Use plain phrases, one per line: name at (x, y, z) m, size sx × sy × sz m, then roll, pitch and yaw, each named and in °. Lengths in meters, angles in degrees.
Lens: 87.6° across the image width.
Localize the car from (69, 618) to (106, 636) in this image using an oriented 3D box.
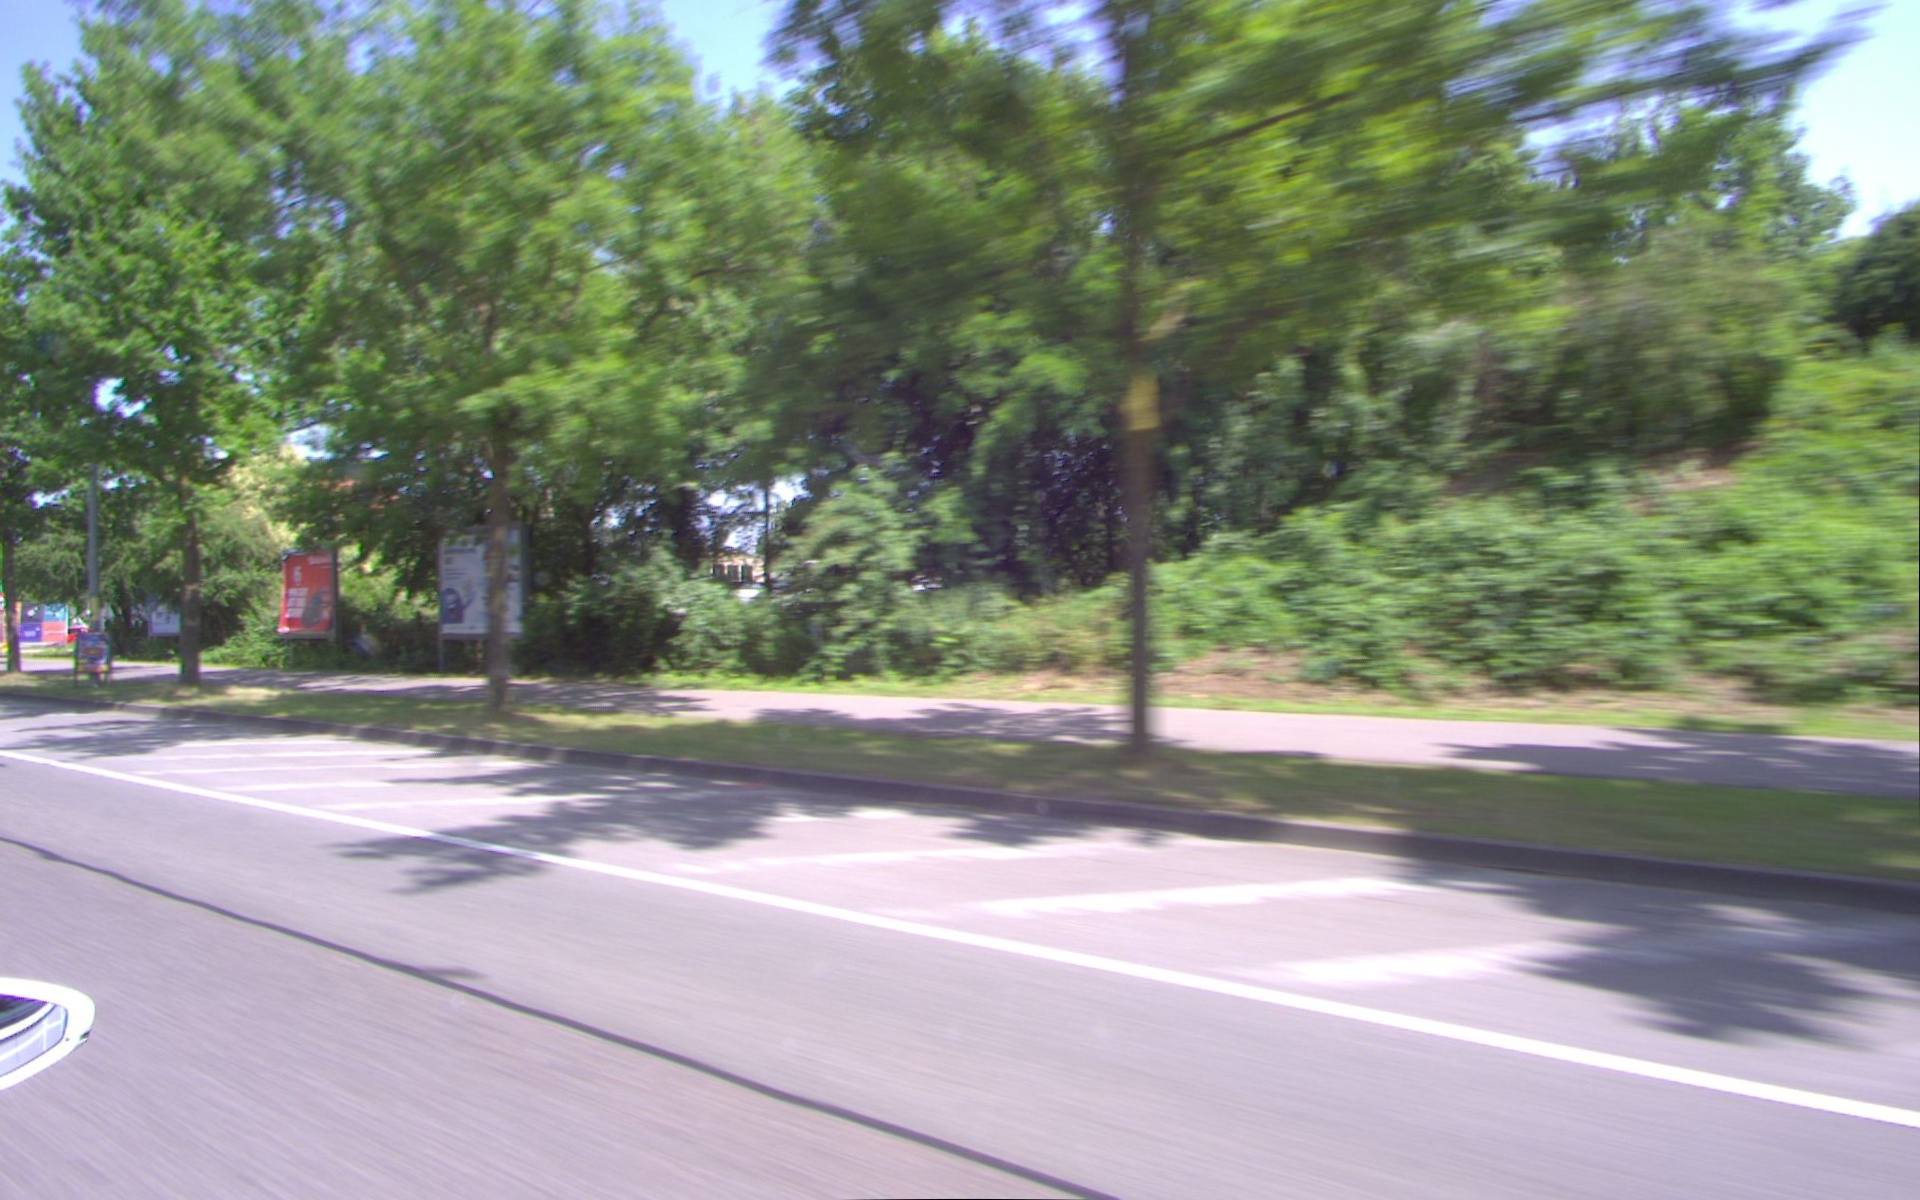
car at (-60.367, 1.858, 69.262) m, size 3.262 × 1.203 × 1.374 m, roll -1°, pitch 0°, yaw 39°
